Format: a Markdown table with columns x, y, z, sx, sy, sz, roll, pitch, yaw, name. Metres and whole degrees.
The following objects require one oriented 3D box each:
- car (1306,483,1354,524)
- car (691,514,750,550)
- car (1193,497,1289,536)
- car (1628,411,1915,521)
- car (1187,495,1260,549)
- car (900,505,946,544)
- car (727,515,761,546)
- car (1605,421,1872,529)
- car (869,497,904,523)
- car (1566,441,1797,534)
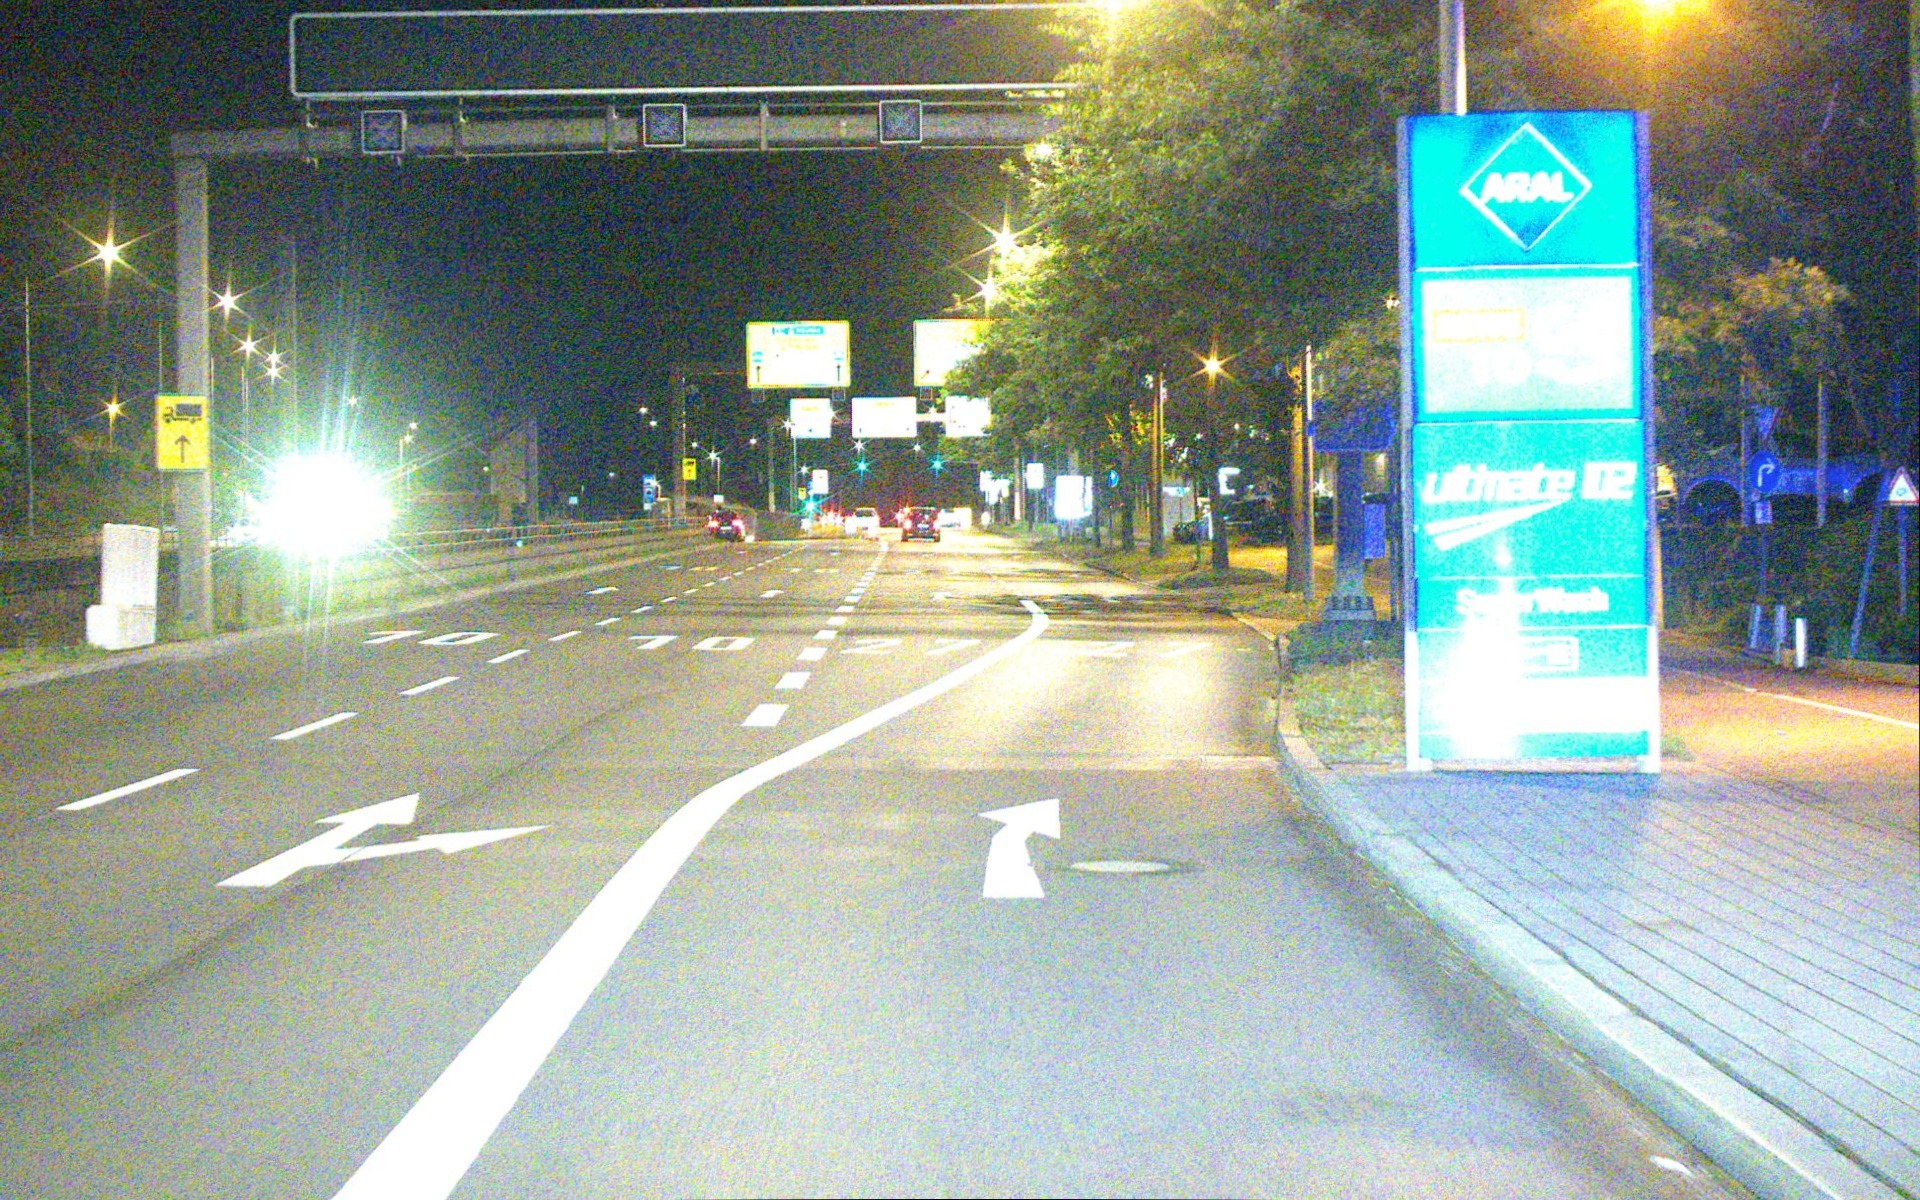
| x | y | z | sx | sy | sz | roll | pitch | yaw | name |
| --- | --- | --- | --- | --- | --- | --- | --- | --- | --- |
| 15.033 | -3.901 | 139.574 | 1.893 | 1.506 | 3.635 | 1 | 0 | 6 | car |
| -12.122 | -3.442 | 174.078 | 1.967 | 1.705 | 4.001 | 1 | 0 | -19 | car |
| 11.268 | -3.348 | 138.036 | 3.624 | 1.446 | 1.708 | 1 | 0 | -4 | car |
| 12.894 | -2.122 | 54.807 | 4.119 | 1.517 | 1.822 | -2 | -1 | 1 | car |
| 10.191 | -3.003 | 132.856 | 1.995 | 1.938 | 3.997 | 1 | 0 | 17 | car |
| -1.752 | -3.583 | 163.994 | 1.968 | 1.705 | 4.000 | 1 | 0 | 2 | car |
| -12.398 | -3.990 | 197.288 | 1.782 | 1.705 | 4.001 | 1 | 0 | -6 | car |
| 12.897 | -2.058 | 57.121 | 3.987 | 1.566 | 1.738 | -2 | 0 | 1 | car |
| -4.633 | -5.673 | 217.123 | 2.005 | 1.546 | 4.295 | 1 | 0 | 2 | car |
| 13.017 | -2.019 | 62.144 | 3.724 | 1.484 | 1.742 | -2 | 0 | -2 | car |
